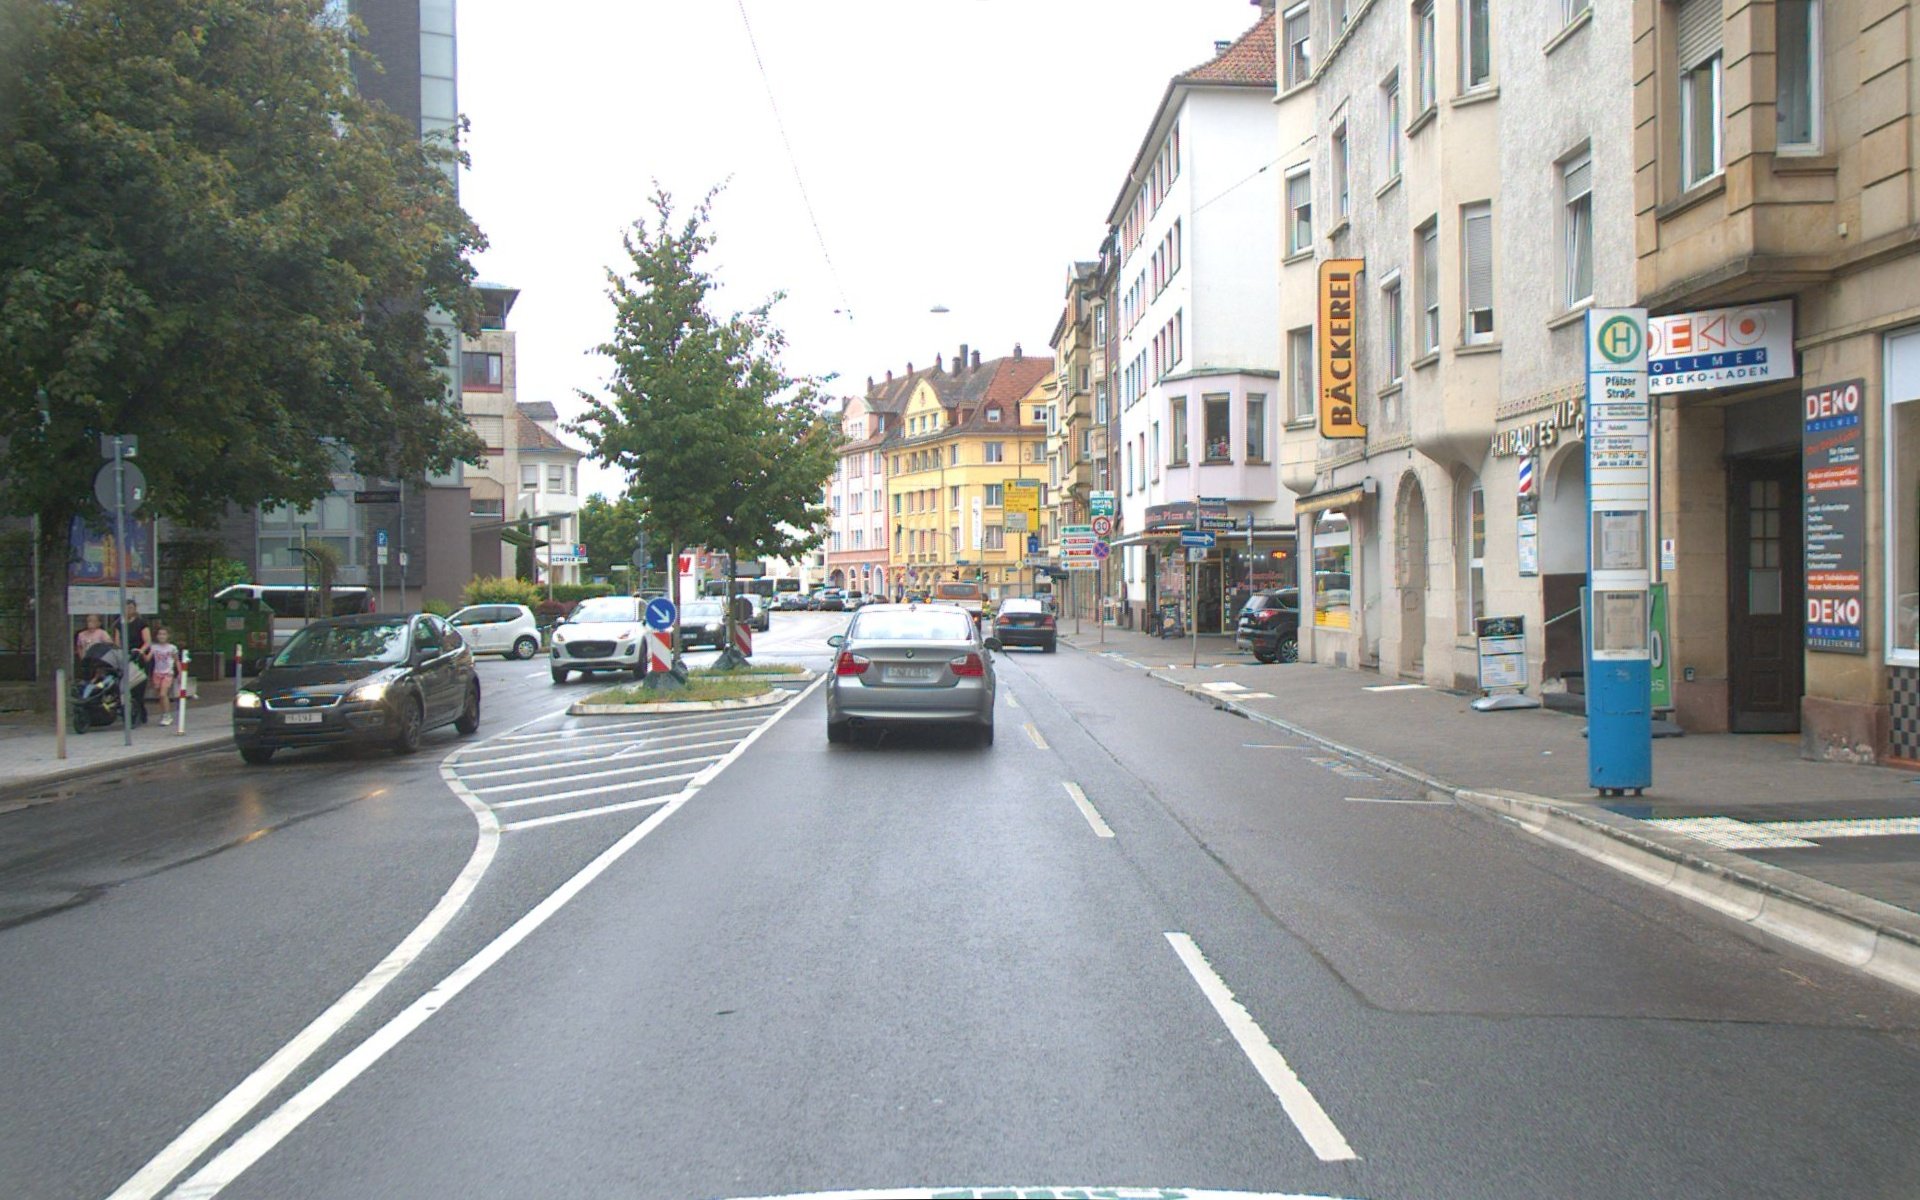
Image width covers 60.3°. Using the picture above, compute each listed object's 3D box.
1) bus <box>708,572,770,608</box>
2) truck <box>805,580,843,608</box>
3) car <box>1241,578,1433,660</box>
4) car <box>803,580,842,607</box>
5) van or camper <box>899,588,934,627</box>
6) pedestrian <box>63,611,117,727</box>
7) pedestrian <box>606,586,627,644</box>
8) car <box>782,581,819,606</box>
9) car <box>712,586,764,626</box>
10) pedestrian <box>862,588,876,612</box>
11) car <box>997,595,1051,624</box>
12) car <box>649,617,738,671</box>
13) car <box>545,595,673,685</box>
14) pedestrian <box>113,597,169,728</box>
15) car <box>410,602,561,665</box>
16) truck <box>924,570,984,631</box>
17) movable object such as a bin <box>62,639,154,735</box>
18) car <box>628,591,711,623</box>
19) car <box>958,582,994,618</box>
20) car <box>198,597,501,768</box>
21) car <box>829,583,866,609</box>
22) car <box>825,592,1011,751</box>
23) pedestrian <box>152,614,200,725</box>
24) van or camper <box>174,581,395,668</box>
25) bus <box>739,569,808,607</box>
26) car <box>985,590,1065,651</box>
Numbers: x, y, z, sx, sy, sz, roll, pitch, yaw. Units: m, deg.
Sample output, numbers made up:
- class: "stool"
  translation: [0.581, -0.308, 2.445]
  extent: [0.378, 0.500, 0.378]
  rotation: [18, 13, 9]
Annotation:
- class: "bus"
  translation: [-20.354, -0.899, 151.813]
  extent: [2.874, 3.159, 8.795]
  rotation: [-1, 1, -27]
- class: "truck"
  translation: [-12.289, -0.547, 149.266]
  extent: [2.001, 2.431, 4.201]
  rotation: [1, 0, -26]
- class: "car"
  translation: [8.468, 0.418, 37.462]
  extent: [4.050, 1.803, 1.875]
  rotation: [0, 0, 6]
- class: "car"
  translation: [-10.848, -0.526, 130.294]
  extent: [1.966, 2.049, 3.973]
  rotation: [-1, 0, -22]
- class: "van or camper"
  translation: [-2.544, 0.410, 95.569]
  extent: [1.818, 2.184, 4.139]
  rotation: [1, 0, -4]
- class: "pedestrian"
  translation: [-11.445, 0.901, 21.774]
  extent: [0.450, 1.499, 0.530]
  rotation: [0, 0, -5]
- class: "pedestrian"
  translation: [-10.706, 0.472, 51.558]
  extent: [0.563, 1.793, 0.580]
  rotation: [-1, 0, -8]
- class: "car"
  translation: [-13.143, -0.515, 135.975]
  extent: [1.966, 2.049, 3.973]
  rotation: [-1, 0, -22]
- class: "car"
  translation: [-9.998, 0.249, 74.235]
  extent: [1.915, 1.688, 4.042]
  rotation: [1, 0, -14]
- class: "pedestrian"
  translation: [-5.932, 0.009, 107.791]
  extent: [0.750, 1.556, 0.505]
  rotation: [1, -1, -22]
- class: "car"
  translation: [4.884, 0.718, 126.535]
  extent: [3.902, 2.049, 2.001]
  rotation: [2, 0, 7]
- class: "car"
  translation: [-7.878, 1.270, 49.262]
  extent: [1.973, 1.450, 4.499]
  rotation: [1, 0, -1]
- class: "car"
  translation: [-6.903, 0.737, 32.878]
  extent: [1.783, 1.596, 4.087]
  rotation: [-2, 0, -2]
- class: "pedestrian"
  translation: [-10.755, 0.808, 21.734]
  extent: [0.488, 1.702, 0.552]
  rotation: [0, 0, -5]
- class: "car"
  translation: [-12.646, 0.853, 44.131]
  extent: [3.546, 1.597, 1.720]
  rotation: [0, 0, -34]
- class: "truck"
  translation: [-0.279, 0.004, 64.461]
  extent: [2.179, 2.289, 5.061]
  rotation: [0, 0, -2]
- class: "movable object such as a bin"
  translation: [-10.772, 1.083, 20.944]
  extent: [0.690, 1.154, 0.965]
  rotation: [1, 0, -5]
- class: "car"
  translation: [-15.949, 0.377, 90.972]
  extent: [4.360, 1.553, 1.883]
  rotation: [2, 0, -7]
- class: "car"
  translation: [0.904, -0.028, 96.493]
  extent: [1.953, 2.049, 3.998]
  rotation: [0, 0, -2]
- class: "car"
  translation: [-6.539, 0.800, 18.264]
  extent: [1.916, 1.584, 4.241]
  rotation: [-2, 0, -3]
- class: "car"
  translation: [-9.855, -0.346, 144.463]
  extent: [1.740, 2.218, 3.966]
  rotation: [2, 0, -26]
- class: "car"
  translation: [-0.482, 0.696, 18.067]
  extent: [1.763, 1.489, 4.369]
  rotation: [1, 0, -2]
- class: "pedestrian"
  translation: [-10.283, 0.906, 21.705]
  extent: [0.424, 1.435, 0.481]
  rotation: [0, 0, -5]
- class: "van or camper"
  translation: [-16.875, 0.578, 41.388]
  extent: [4.900, 2.049, 1.979]
  rotation: [0, 0, -31]
- class: "bus"
  translation: [-16.282, -0.991, 143.829]
  extent: [2.875, 3.159, 9.060]
  rotation: [-1, 1, -28]
- class: "car"
  translation: [1.731, 0.545, 44.893]
  extent: [1.764, 1.590, 3.997]
  rotation: [0, -1, -4]
